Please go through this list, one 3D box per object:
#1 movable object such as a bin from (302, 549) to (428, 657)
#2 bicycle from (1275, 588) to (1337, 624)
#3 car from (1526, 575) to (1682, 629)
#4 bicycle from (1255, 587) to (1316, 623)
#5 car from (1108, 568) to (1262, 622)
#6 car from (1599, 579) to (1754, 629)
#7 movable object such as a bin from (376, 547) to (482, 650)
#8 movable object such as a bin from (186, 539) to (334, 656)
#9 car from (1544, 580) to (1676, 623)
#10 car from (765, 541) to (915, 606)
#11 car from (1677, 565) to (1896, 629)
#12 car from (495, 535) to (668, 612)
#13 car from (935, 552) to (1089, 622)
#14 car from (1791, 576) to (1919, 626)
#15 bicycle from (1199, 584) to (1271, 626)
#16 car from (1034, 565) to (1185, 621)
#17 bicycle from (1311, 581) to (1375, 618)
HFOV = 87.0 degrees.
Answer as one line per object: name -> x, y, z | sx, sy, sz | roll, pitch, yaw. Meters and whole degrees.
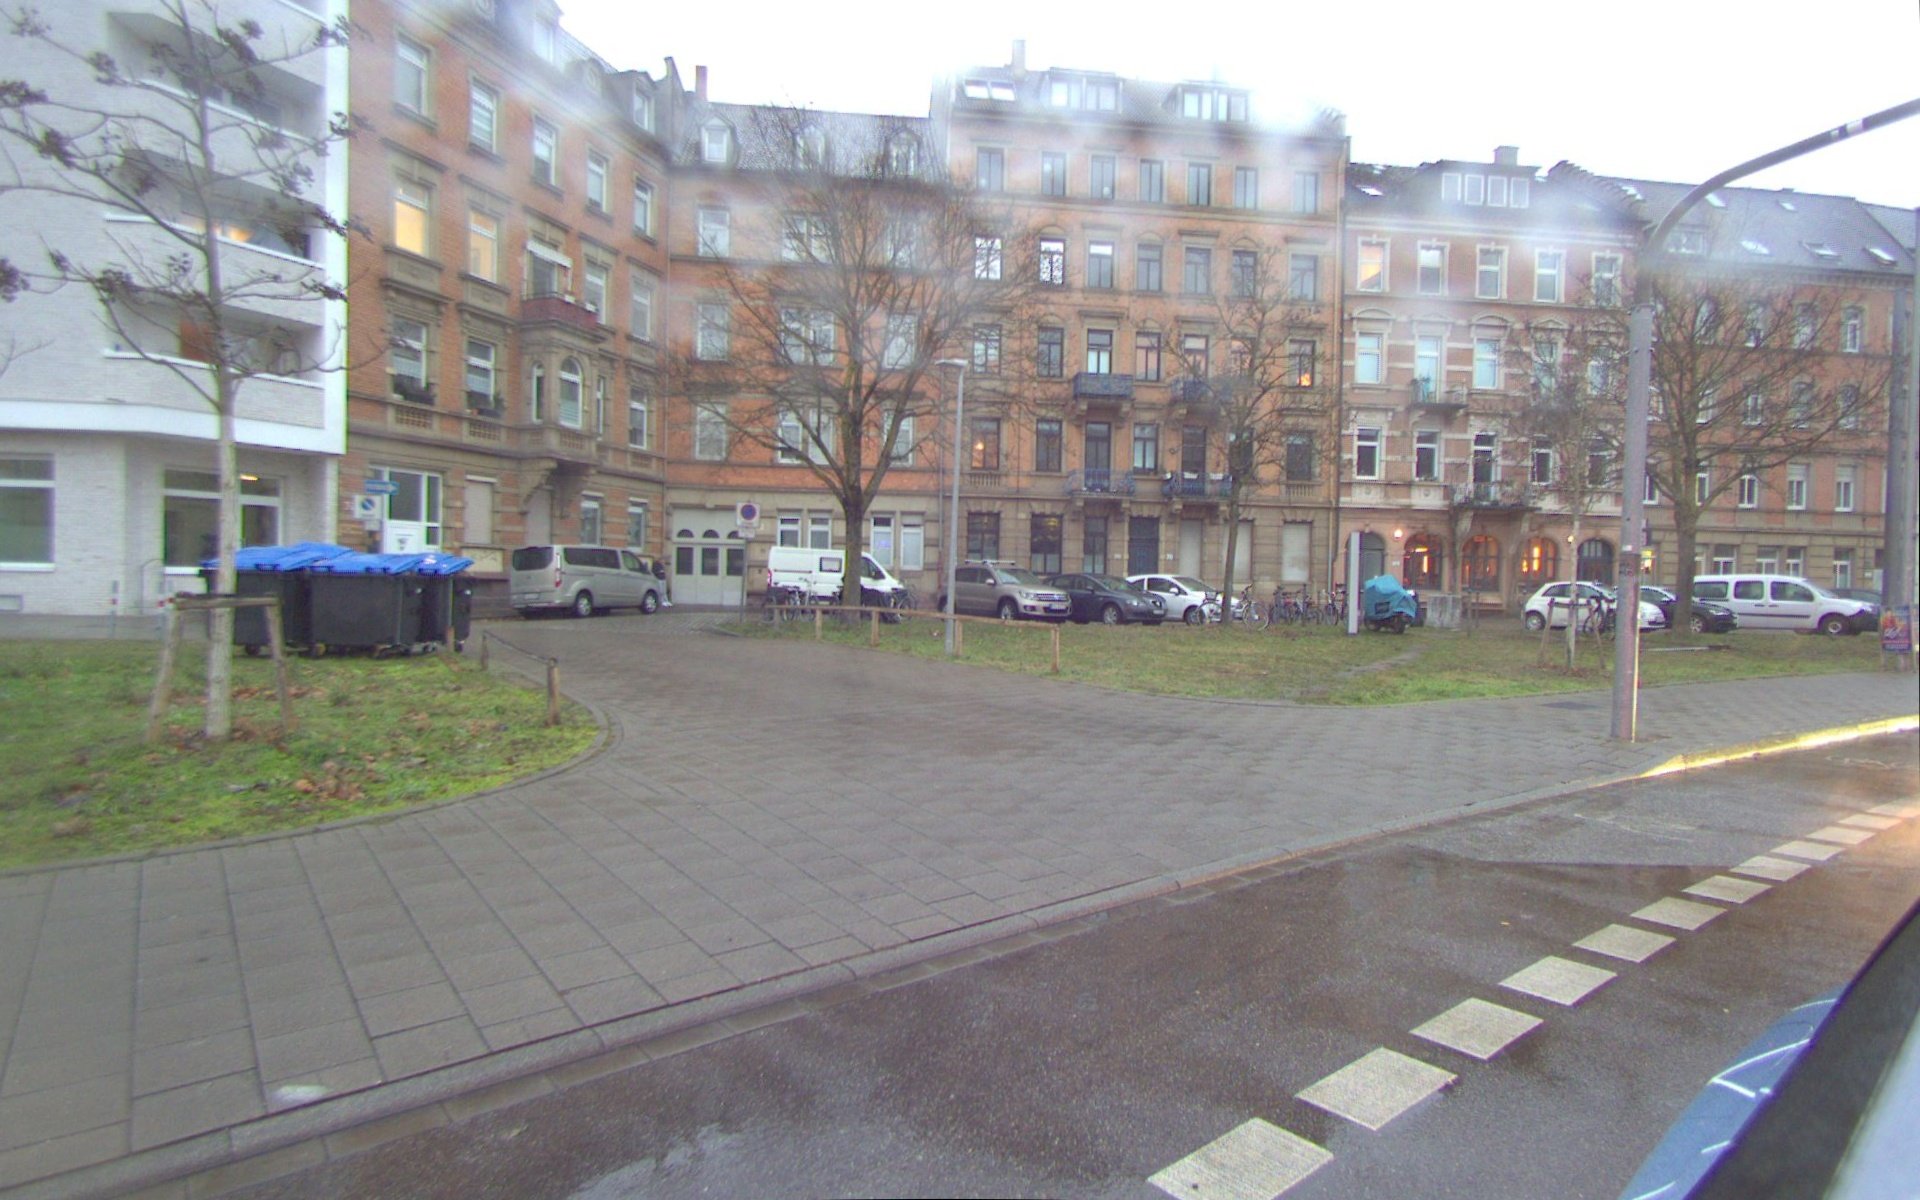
movable object such as a bin -> -8.327, 0.022, 14.218 | 1.200, 1.433, 1.018 | 1, 2, -3
bicycle -> 10.020, 0.165, 29.370 | 0.613, 0.978, 2.175 | 3, -1, -13
car -> 18.437, 0.054, 29.088 | 1.583, 1.461, 3.467 | 1, 0, -34
bicycle -> 9.398, 0.142, 29.285 | 0.613, 0.978, 2.175 | 3, -1, -13
car -> 6.059, -0.179, 27.566 | 1.669, 1.353, 3.852 | 0, 1, -42
car -> 20.985, 0.097, 29.726 | 1.634, 1.368, 3.430 | 1, 0, -39
movable object such as a bin -> -8.046, -0.019, 15.388 | 1.022, 1.509, 1.035 | 0, -1, 6
movable object such as a bin -> -9.651, -0.039, 14.004 | 1.303, 1.514, 1.031 | 2, 1, -2
car -> 24.222, 0.075, 37.761 | 3.967, 1.520, 1.740 | 1, -1, -9
car -> -4.115, -0.907, 34.506 | 4.884, 2.038, 2.004 | 1, 2, -9
car -> 24.087, -0.147, 29.664 | 1.745, 1.611, 4.663 | 0, 3, -37
car -> -10.518, -0.650, 28.527 | 1.976, 1.943, 4.715 | -1, -1, 21
car -> 1.275, -0.401, 26.445 | 1.908, 1.656, 3.999 | -1, 3, -37
car -> 27.051, 0.067, 29.455 | 1.737, 1.250, 4.066 | 2, 3, -35
bicycle -> 6.625, 0.107, 24.420 | 1.628, 0.948, 0.512 | 2, 1, 15
car -> 3.887, -0.180, 26.714 | 1.649, 1.372, 3.737 | 2, 0, -42
bicycle -> 11.097, -0.039, 29.374 | 0.613, 0.978, 2.176 | 1, 2, -13
